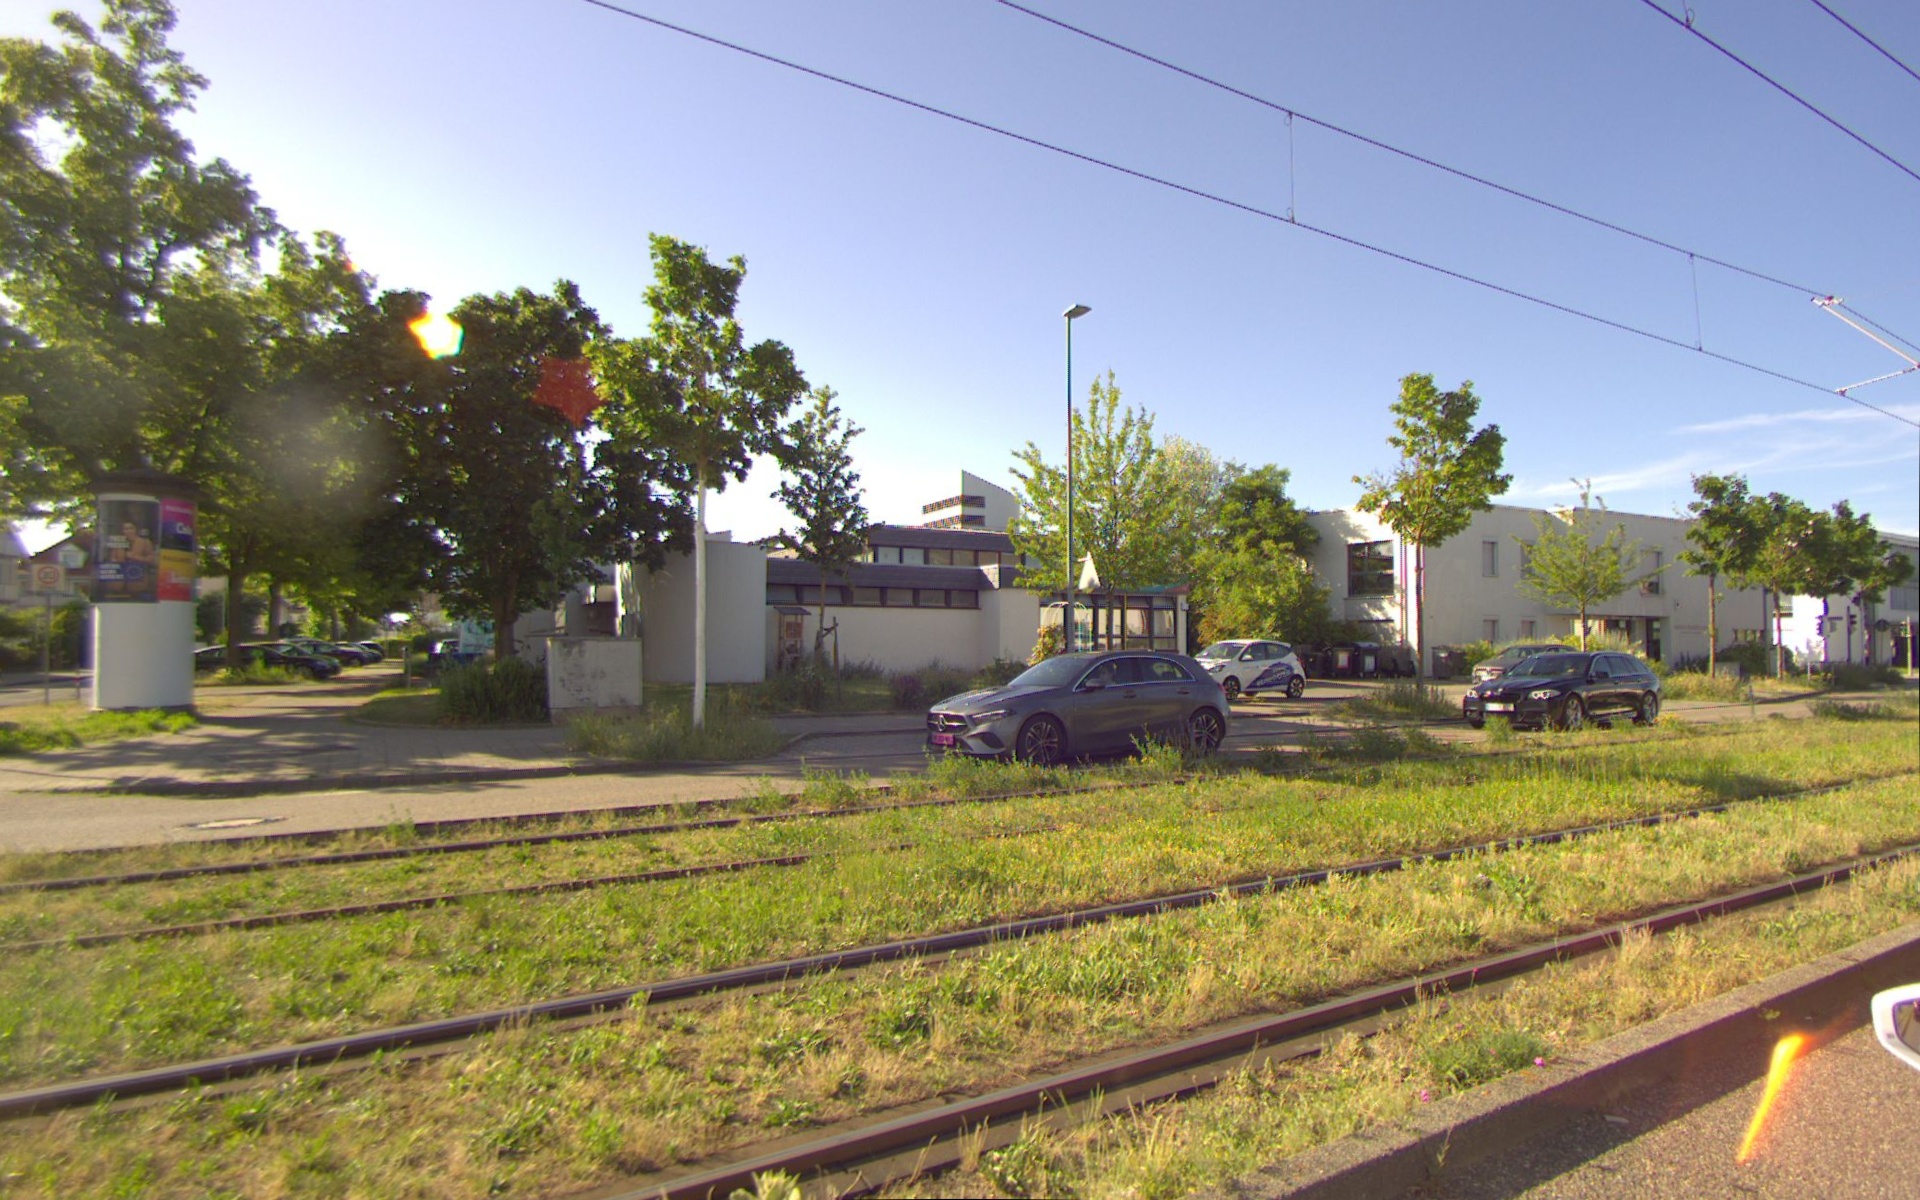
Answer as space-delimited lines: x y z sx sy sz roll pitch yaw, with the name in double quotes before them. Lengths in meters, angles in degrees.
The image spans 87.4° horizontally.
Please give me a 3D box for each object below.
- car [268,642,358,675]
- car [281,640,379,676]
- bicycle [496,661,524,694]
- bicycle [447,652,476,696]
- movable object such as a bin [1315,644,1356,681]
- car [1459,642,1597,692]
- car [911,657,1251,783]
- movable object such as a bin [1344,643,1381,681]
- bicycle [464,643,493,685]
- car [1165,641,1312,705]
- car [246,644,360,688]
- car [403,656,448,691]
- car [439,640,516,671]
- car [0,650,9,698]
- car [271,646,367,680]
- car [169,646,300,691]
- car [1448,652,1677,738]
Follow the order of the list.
"car" -34.641 3.103 53.915 3.953 1.638 1.616 0 -1 -31
"car" -32.773 3.005 52.409 4.106 1.697 1.841 0 -1 -25
"bicycle" -11.915 2.038 26.586 0.332 0.835 1.231 2 -3 -39
"bicycle" -12.740 1.871 25.687 1.042 1.097 0.303 -2 -3 43
"movable object such as a bin" 14.531 2.408 38.873 1.401 1.401 0.663 1 -1 -23
"car" 18.352 2.145 32.436 4.261 1.480 1.804 2 -1 -27
"car" 1.656 1.475 13.242 4.338 1.406 1.680 2 -5 -31
"movable object such as a bin" 15.834 2.427 39.556 1.237 1.452 0.663 1 -1 -23
"bicycle" -12.463 1.648 26.002 1.025 1.073 0.303 -2 -3 43
"car" 7.152 1.824 25.681 3.734 1.511 1.536 2 -1 -32
"car" -24.881 2.470 38.145 3.342 1.551 1.472 0 -1 -19
"car" -20.901 2.860 39.365 1.324 1.228 4.005 1 -2 -25
"car" -28.071 3.205 58.508 3.948 1.639 1.761 0 -1 -27
"car" -30.552 2.317 30.412 1.705 1.481 3.601 2 -1 -30
"car" -31.574 3.099 49.626 3.776 1.505 1.719 0 -1 -25
"car" -24.840 2.321 34.511 3.269 1.429 1.647 0 -1 -19
"car" 11.660 1.759 19.347 4.863 1.463 1.753 2 -5 -32
